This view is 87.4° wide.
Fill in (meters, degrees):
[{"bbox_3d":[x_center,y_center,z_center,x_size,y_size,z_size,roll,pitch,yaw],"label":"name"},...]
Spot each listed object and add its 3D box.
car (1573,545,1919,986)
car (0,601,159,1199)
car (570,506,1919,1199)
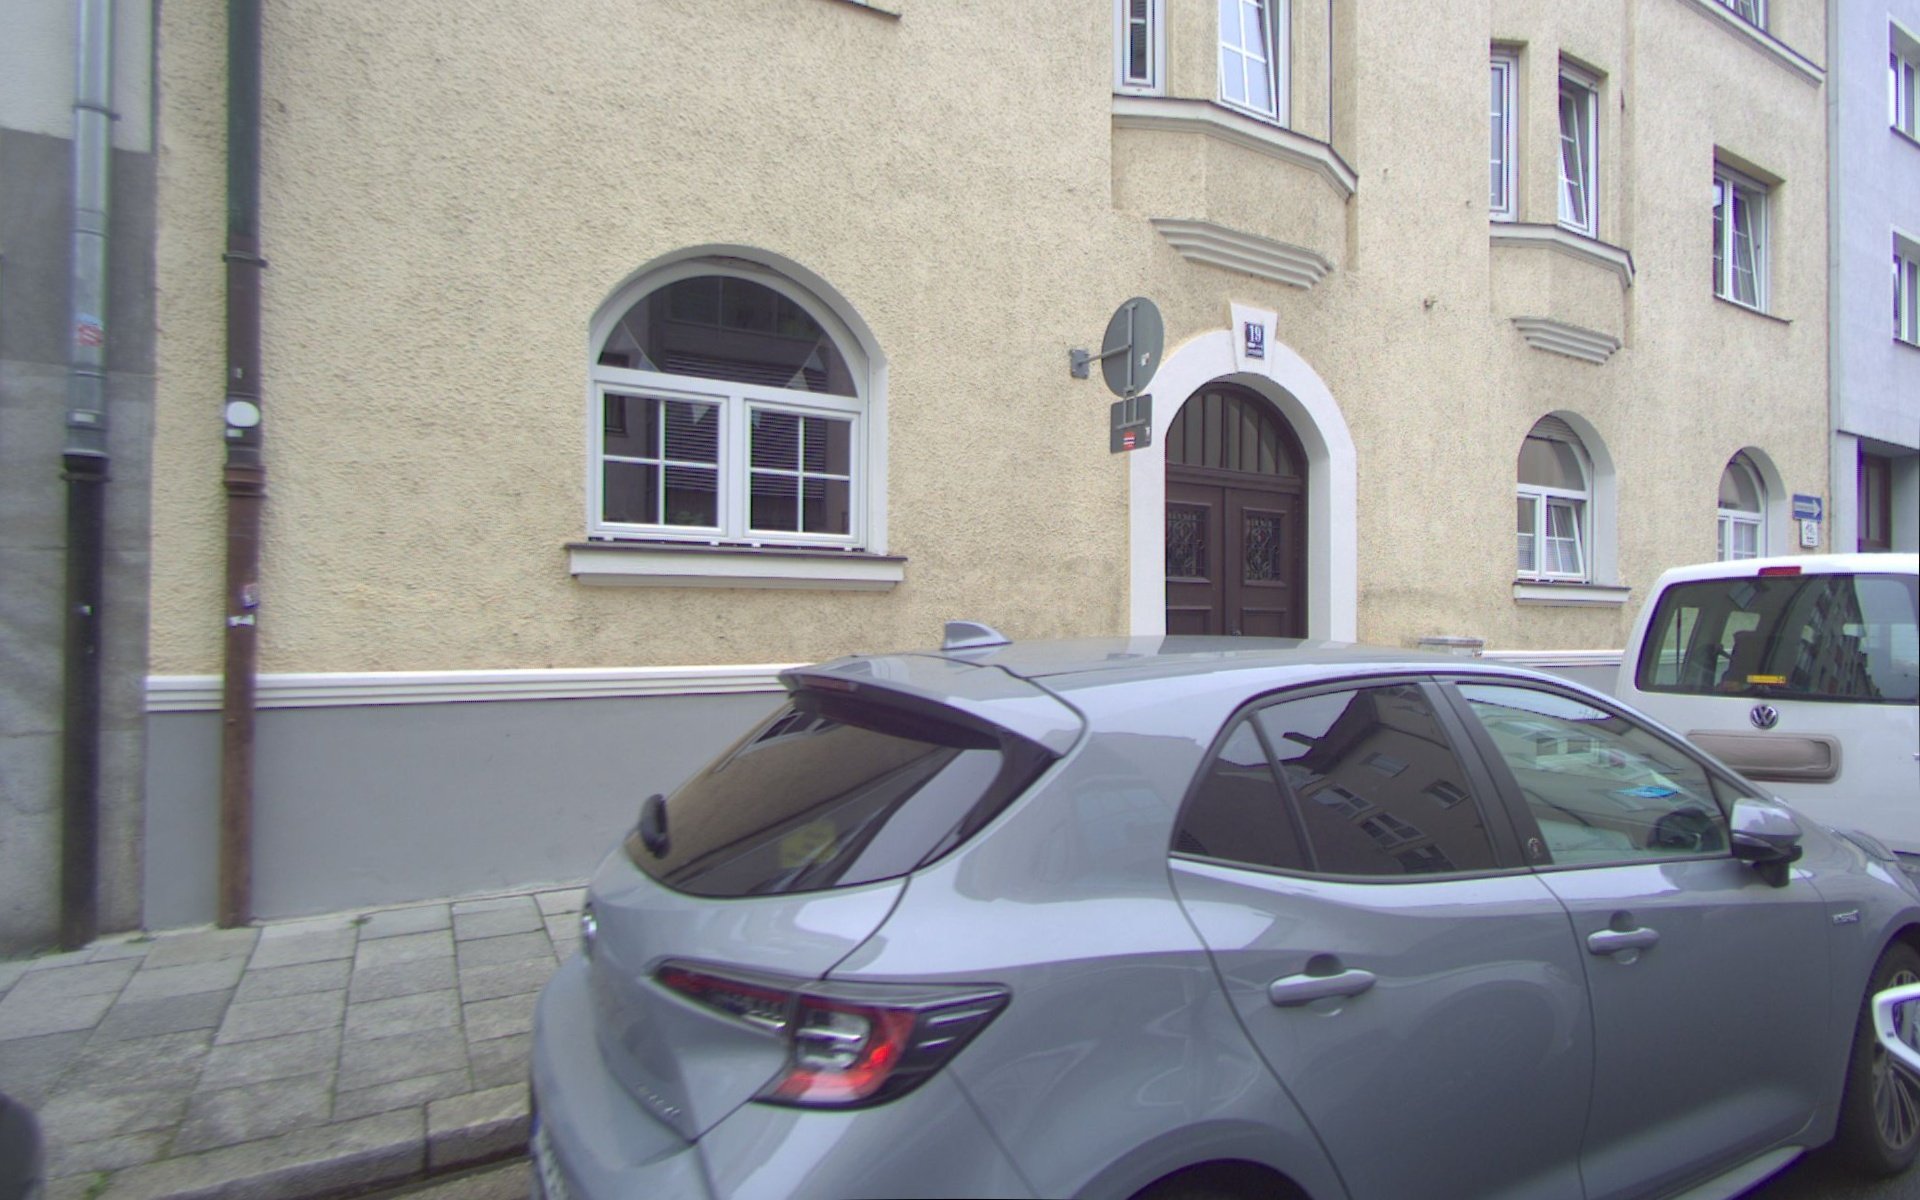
[{"bbox_3d":[5.541,0.757,5.625,4.197,1.812,1.717,2,-3,-29],"label":"car"},{"bbox_3d":[-2.986,0.731,0.508,3.797,1.494,1.620,1,-3,-31],"label":"car"},{"bbox_3d":[1.187,0.756,2.841,4.063,1.494,1.665,2,-4,-30],"label":"car"}]
